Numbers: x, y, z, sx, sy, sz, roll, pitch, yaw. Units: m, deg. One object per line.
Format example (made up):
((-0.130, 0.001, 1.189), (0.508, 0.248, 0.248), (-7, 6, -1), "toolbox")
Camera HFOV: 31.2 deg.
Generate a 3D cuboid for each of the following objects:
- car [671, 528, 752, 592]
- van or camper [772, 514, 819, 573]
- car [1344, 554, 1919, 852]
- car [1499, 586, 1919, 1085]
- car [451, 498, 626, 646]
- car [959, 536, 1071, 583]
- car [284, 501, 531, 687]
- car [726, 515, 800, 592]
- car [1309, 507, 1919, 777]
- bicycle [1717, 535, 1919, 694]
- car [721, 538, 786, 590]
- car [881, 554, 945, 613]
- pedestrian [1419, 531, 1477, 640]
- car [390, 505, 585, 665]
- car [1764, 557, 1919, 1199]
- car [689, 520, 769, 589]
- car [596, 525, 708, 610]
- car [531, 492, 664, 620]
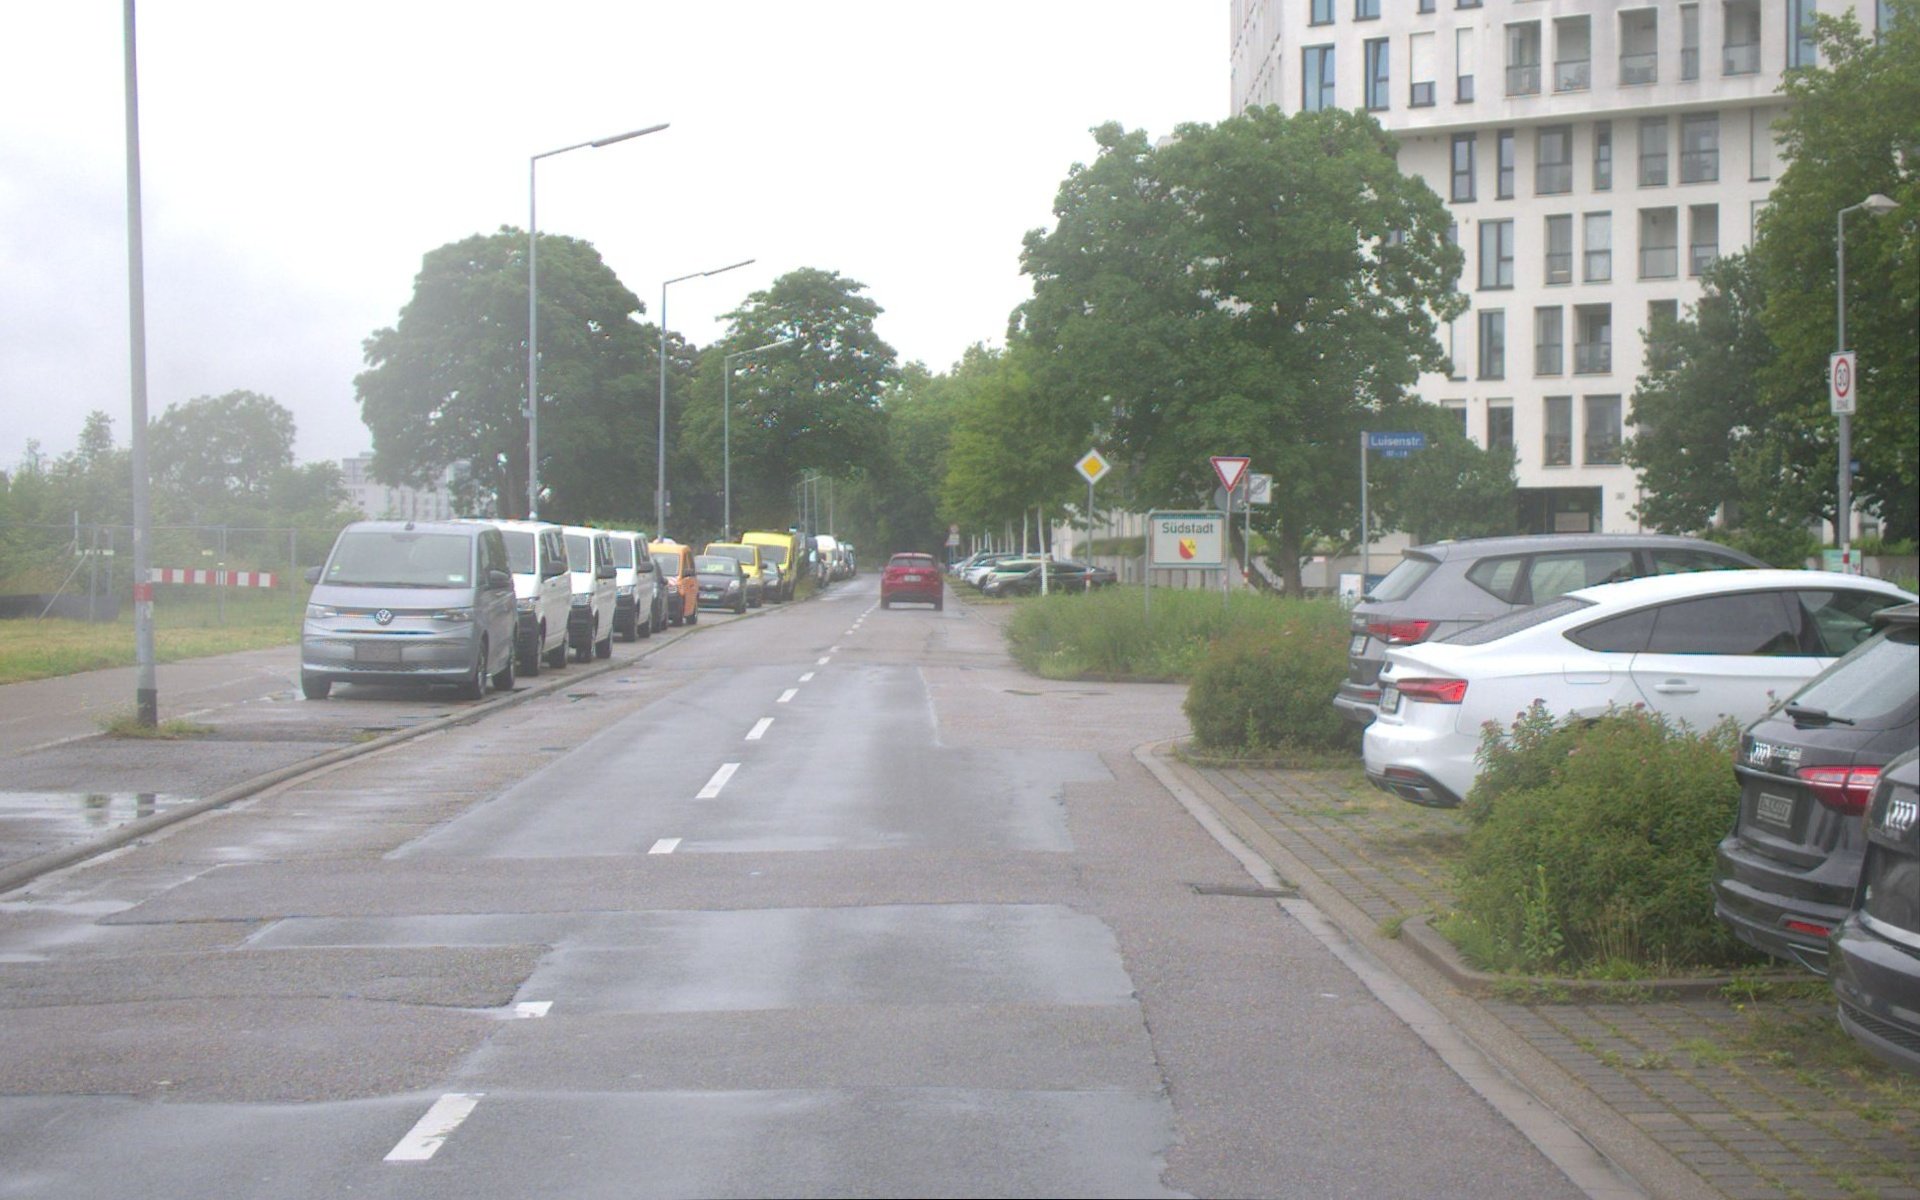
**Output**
((-6.579, -1.077, 91.412), (1.804, 1.556, 4.033), (3, 1, 0), "car")
((-8.035, -2.724, 167.994), (2.094, 2.706, 7.575), (3, 0, -2), "van or camper")
((4.360, 0.486, 18.105), (4.409, 1.400, 1.911), (-2, 1, -1), "car")
((3.968, 0.695, 11.483), (3.986, 1.474, 1.879), (-1, 1, -2), "car")
((-6.266, -0.450, 51.689), (1.960, 2.051, 5.274), (2, 1, 0), "car")
((2.340, -1.732, 146.575), (4.539, 1.679, 1.886), (-4, 1, -3), "car")
((-6.025, -0.102, 38.064), (1.956, 1.895, 4.995), (1, 1, -1), "car")
((-7.319, -1.715, 128.154), (2.192, 2.685, 6.081), (3, 1, 1), "car")
((4.526, 0.249, 23.002), (4.089, 1.618, 1.966), (-2, 1, -2), "car")
((8.488, 0.136, 33.278), (2.190, 1.517, 0.630), (0, 1, 20), "bicycle")
((-6.971, -1.216, 116.503), (1.993, 1.588, 5.018), (3, 0, -2), "car")
((-1.404, -0.505, 102.078), (1.756, 1.700, 4.000), (1, 1, -2), "car")
((9.018, -0.278, 63.598), (0.965, 2.007, 0.623), (0, 1, 0), "pedestrian")
((-6.258, -0.234, 46.072), (1.895, 2.007, 5.258), (1, 1, 0), "car")
((4.205, 0.620, 8.219), (4.060, 1.491, 2.058), (-1, 1, 0), "car")
((-6.966, -1.364, 104.201), (2.017, 1.950, 6.065), (2, 1, -1), "car")
((-6.665, -0.722, 74.810), (1.940, 1.761, 4.331), (1, 1, 1), "car")
((-6.618, -0.835, 63.335), (1.942, 2.228, 5.558), (1, 1, -1), "car")
